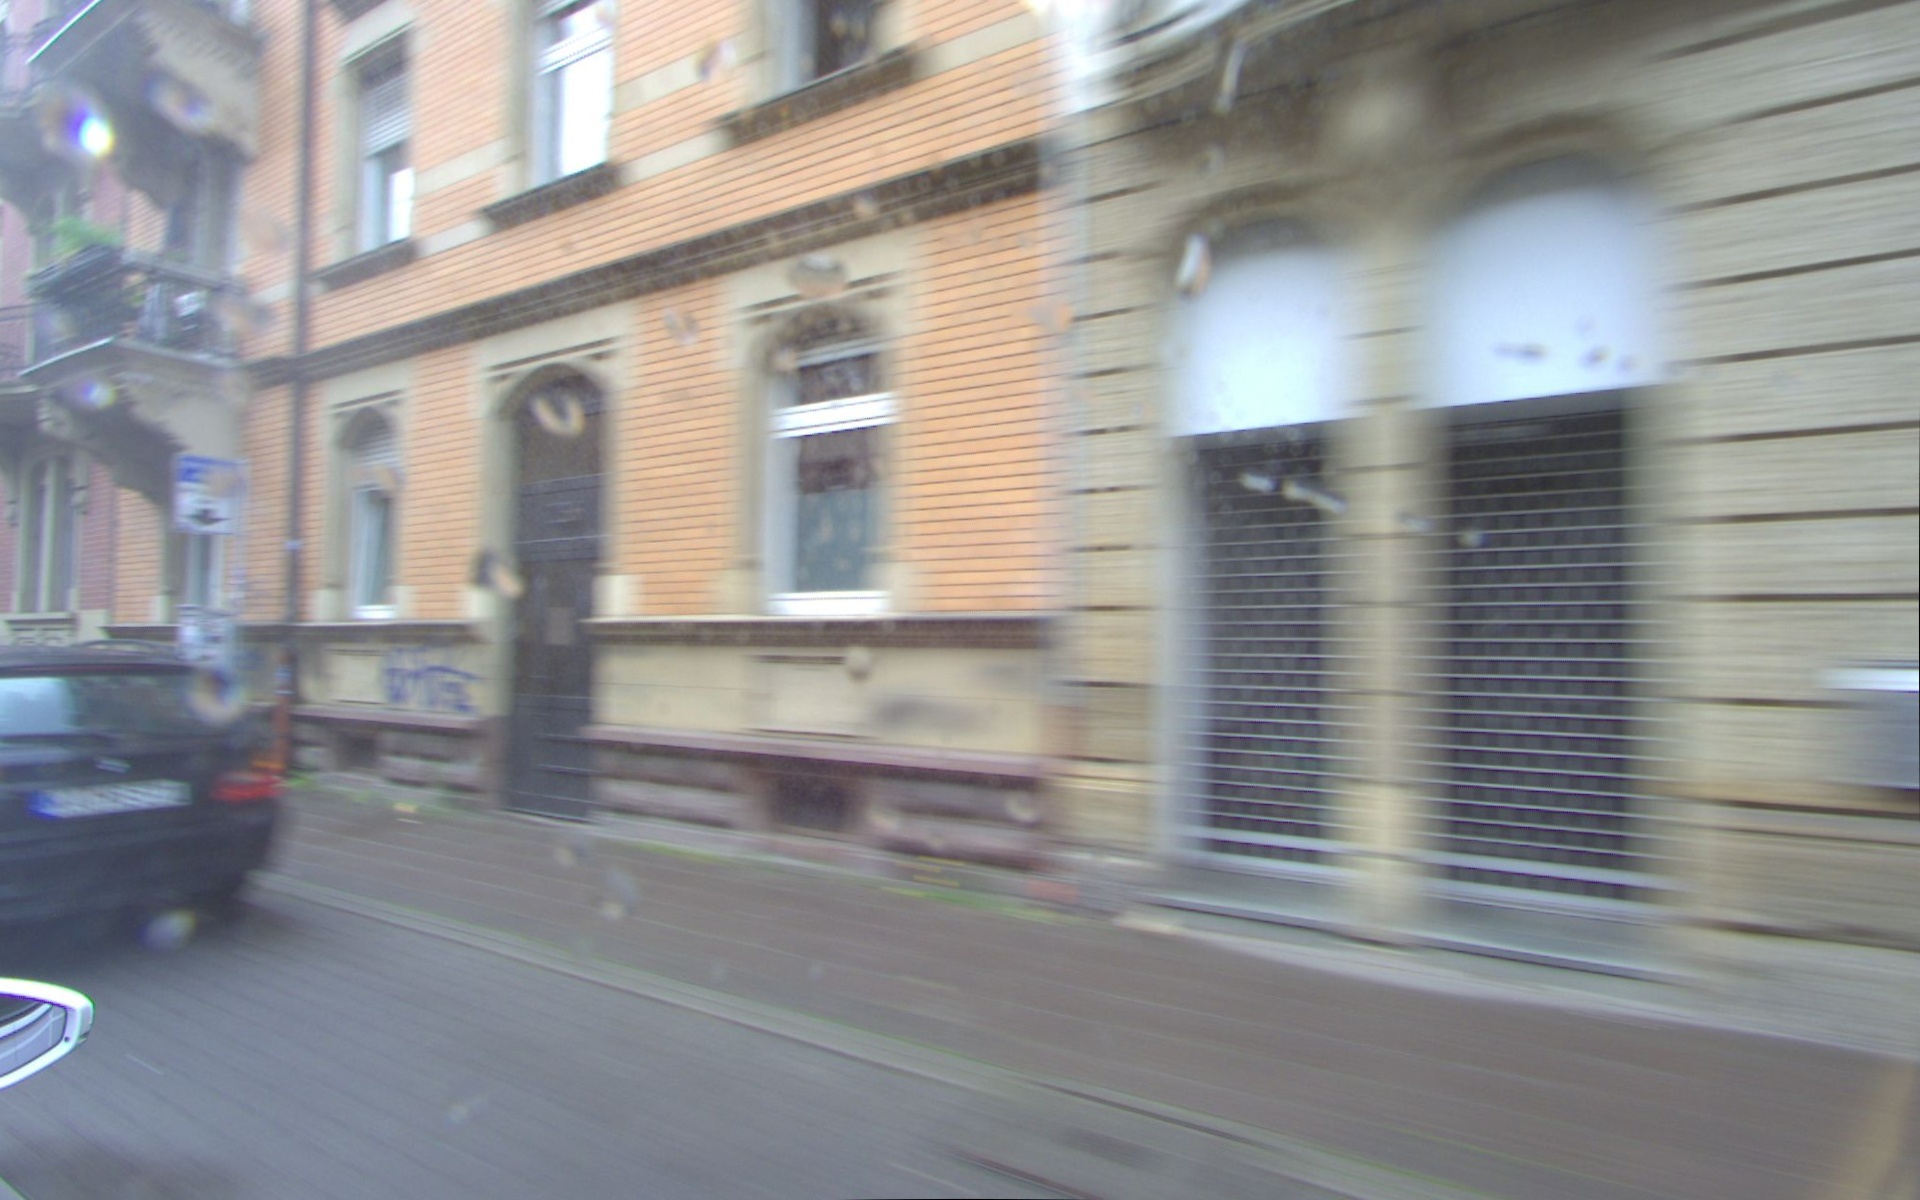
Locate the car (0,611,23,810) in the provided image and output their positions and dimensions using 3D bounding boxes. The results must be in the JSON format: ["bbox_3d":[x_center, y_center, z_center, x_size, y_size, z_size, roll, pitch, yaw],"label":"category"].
[{"bbox_3d":[-9.830,0.881,8.428,4.284,1.582,1.868,-1,-2,33],"label":"car"}]

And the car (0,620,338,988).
[{"bbox_3d":[-5.531,0.880,5.584,4.420,1.485,1.784,-1,-3,33],"label":"car"}]
